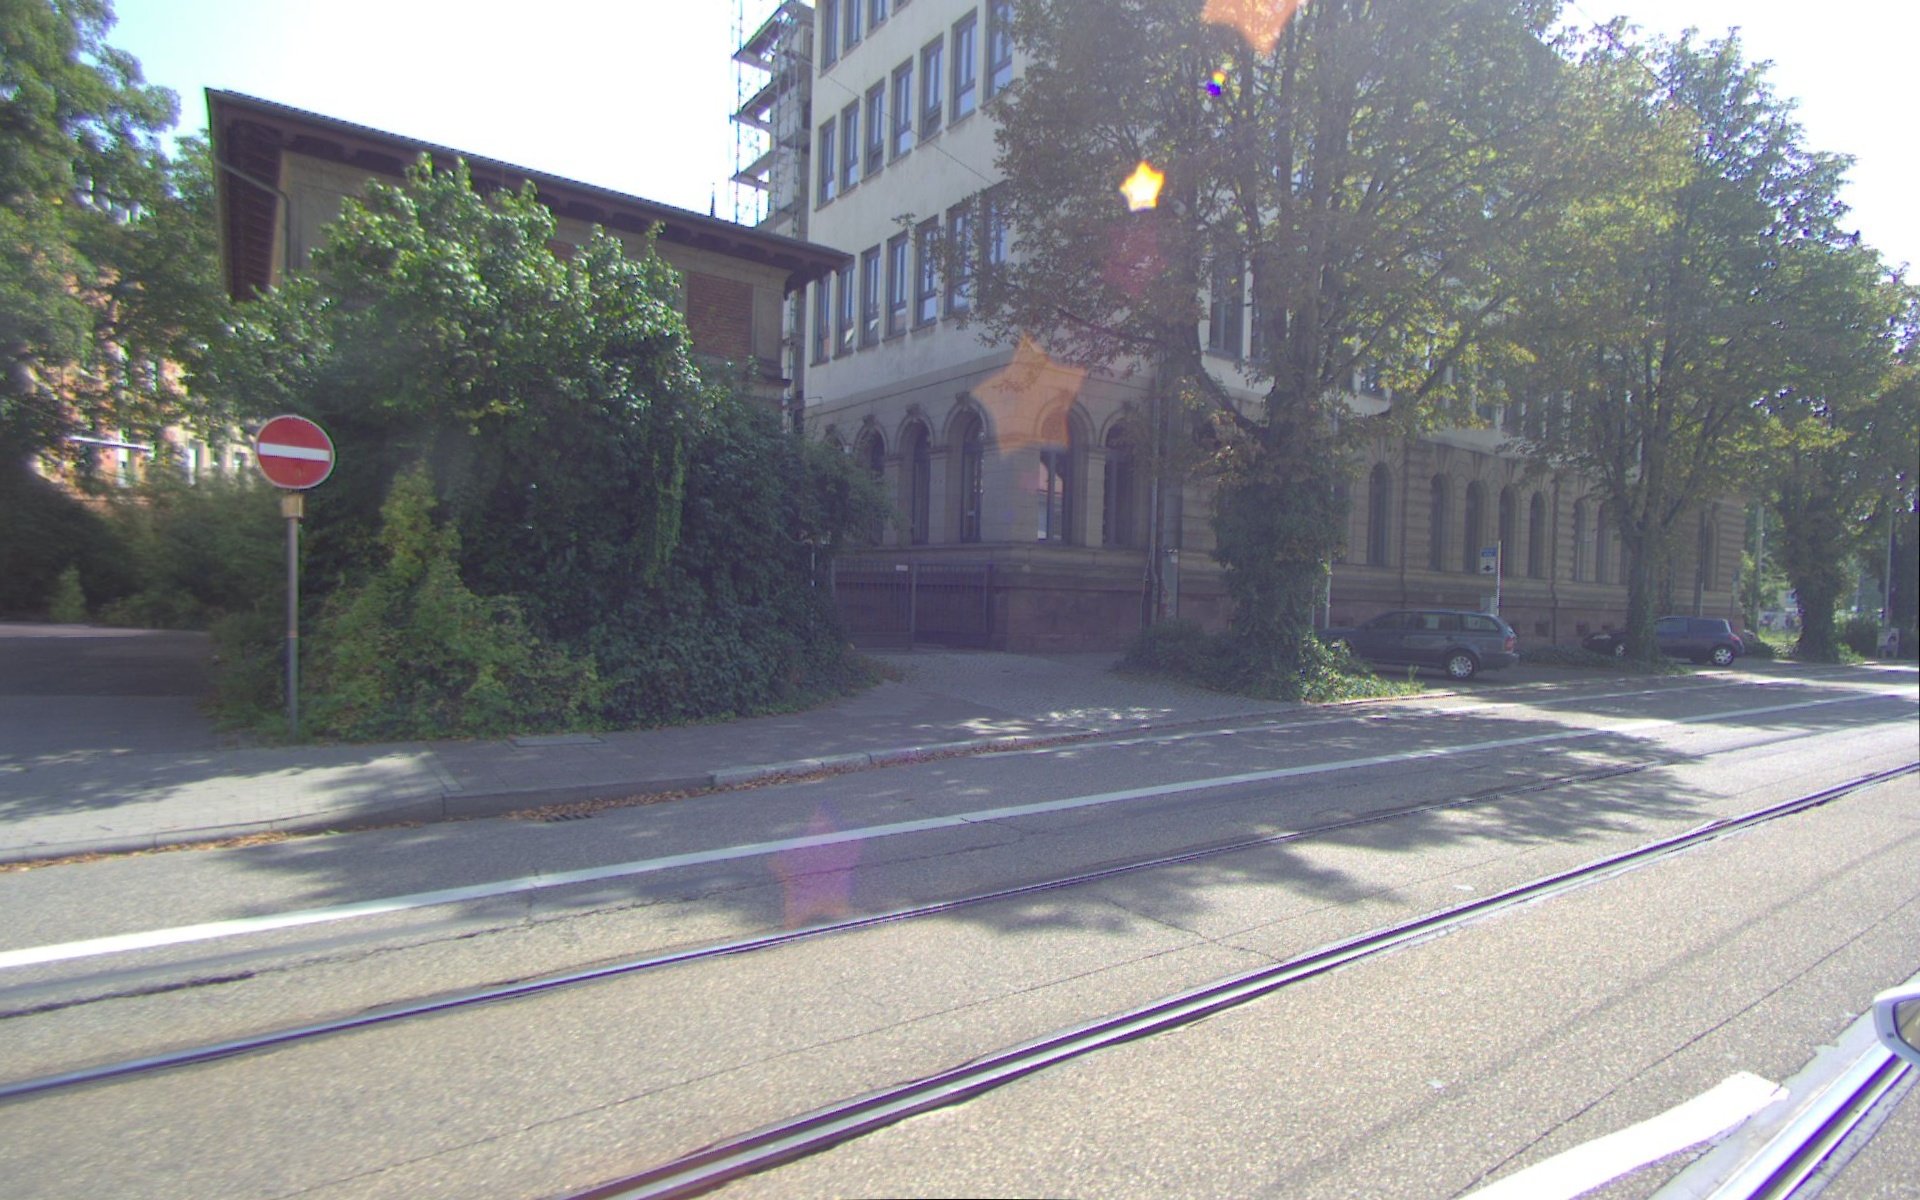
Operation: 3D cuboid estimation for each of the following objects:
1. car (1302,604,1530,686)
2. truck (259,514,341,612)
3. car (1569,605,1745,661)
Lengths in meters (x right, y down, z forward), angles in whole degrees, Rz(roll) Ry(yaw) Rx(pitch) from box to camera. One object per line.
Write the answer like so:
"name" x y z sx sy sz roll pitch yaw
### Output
"car" 9.971 0.916 22.097 4.348 1.481 1.818 3 1 28
"truck" -23.763 -1.308 36.368 1.976 3.157 6.228 2 1 -29
"car" 21.605 0.990 31.321 4.080 1.516 1.821 2 1 17
